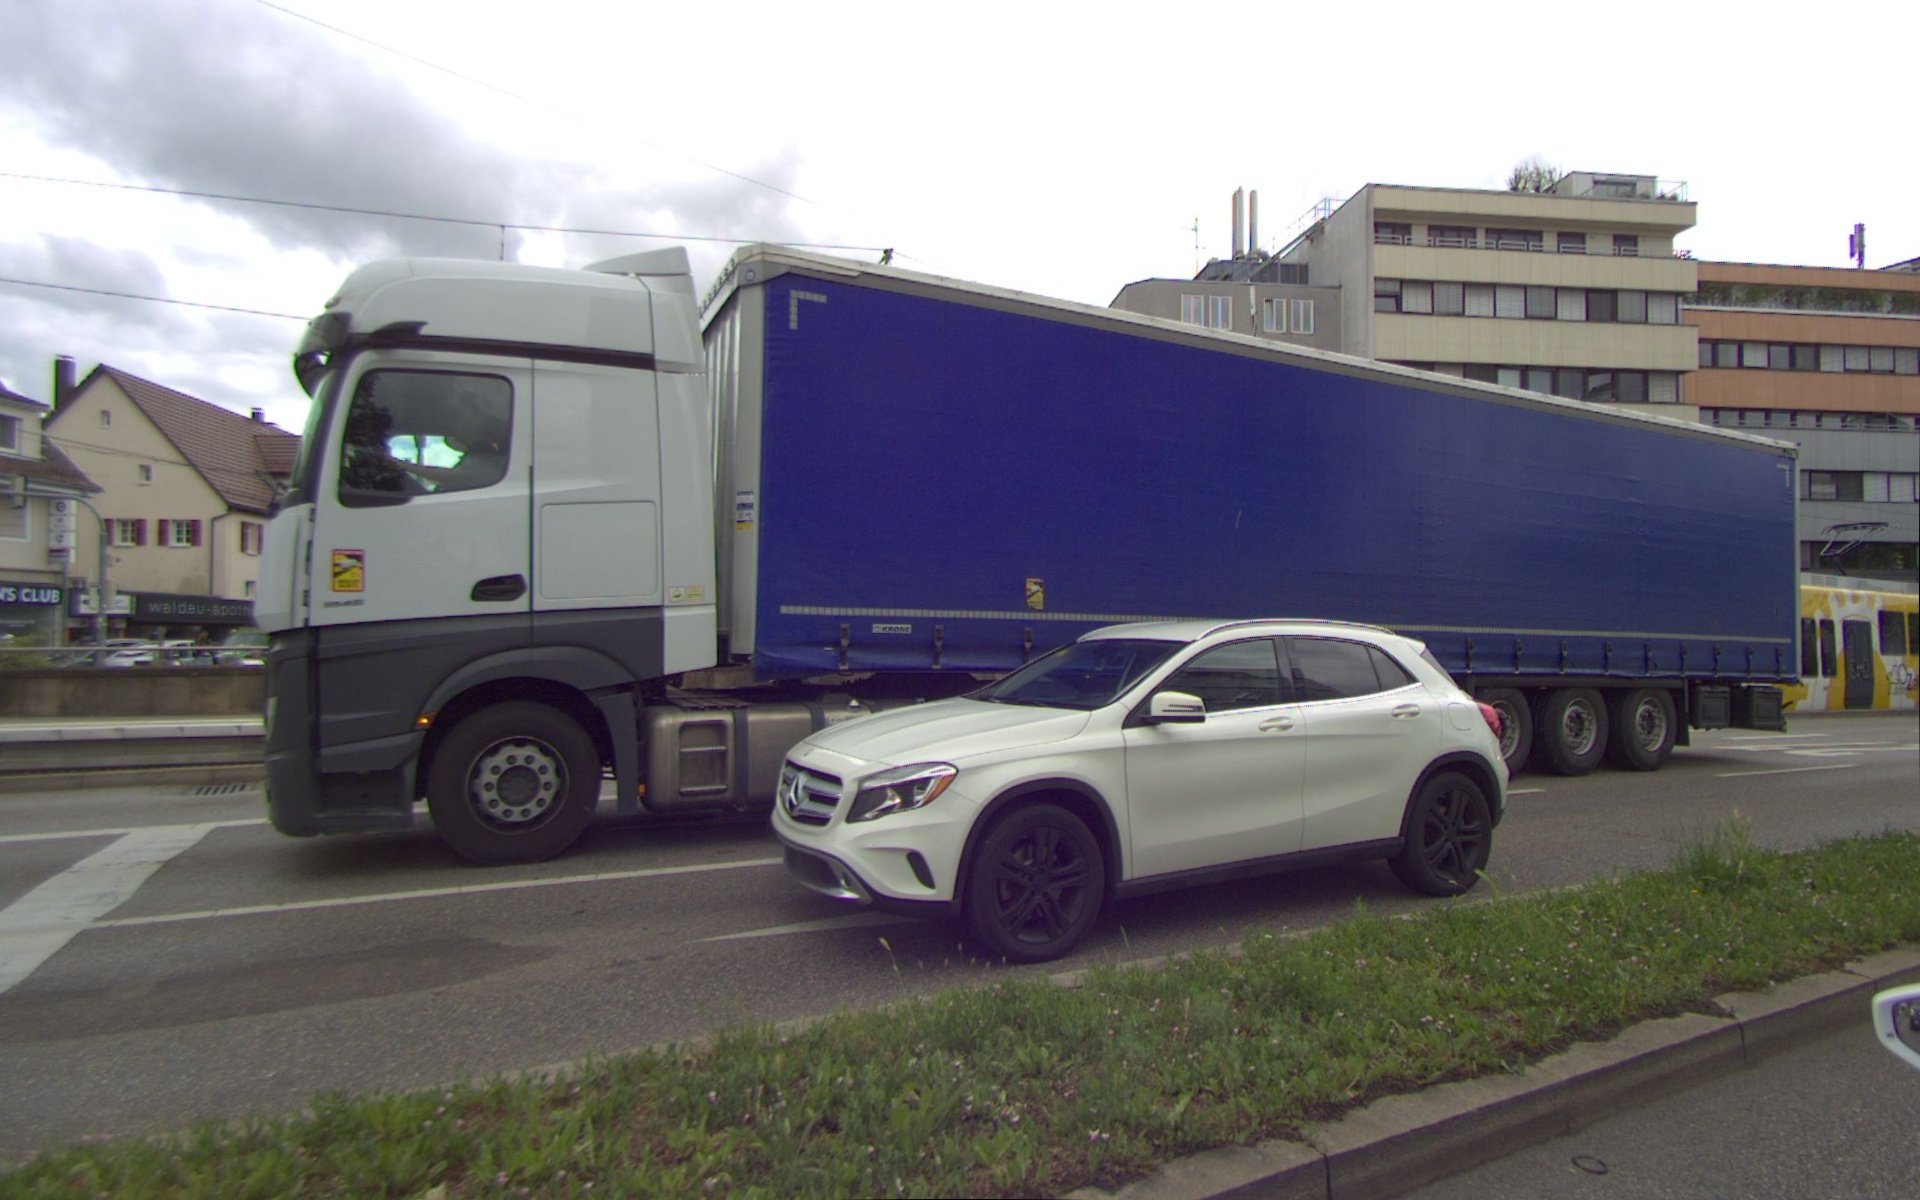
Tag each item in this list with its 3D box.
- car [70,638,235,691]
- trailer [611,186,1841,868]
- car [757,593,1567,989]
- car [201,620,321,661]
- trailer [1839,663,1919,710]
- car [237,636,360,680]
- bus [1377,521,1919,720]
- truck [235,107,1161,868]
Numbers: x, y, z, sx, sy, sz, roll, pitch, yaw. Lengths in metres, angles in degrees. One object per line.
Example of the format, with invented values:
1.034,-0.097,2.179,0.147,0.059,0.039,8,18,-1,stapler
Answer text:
-27.033,2.122,33.824,1.959,1.673,4.077,0,-2,6,car
4.066,-0.305,11.028,14.652,4.325,3.092,1,-2,-27,trailer
1.199,0.804,5.673,4.306,1.536,1.781,1,-2,-26,car
-29.666,1.725,42.801,1.959,1.673,4.077,0,-2,6,car
33.539,2.793,32.914,11.969,1.350,2.831,2,-3,-27,trailer
-26.644,2.326,40.629,1.959,1.673,4.077,0,-2,6,car
19.005,0.788,25.811,19.090,3.909,3.864,2,-3,-27,bus
-1.768,-0.521,8.108,6.075,4.075,3.081,1,-2,-26,truck
